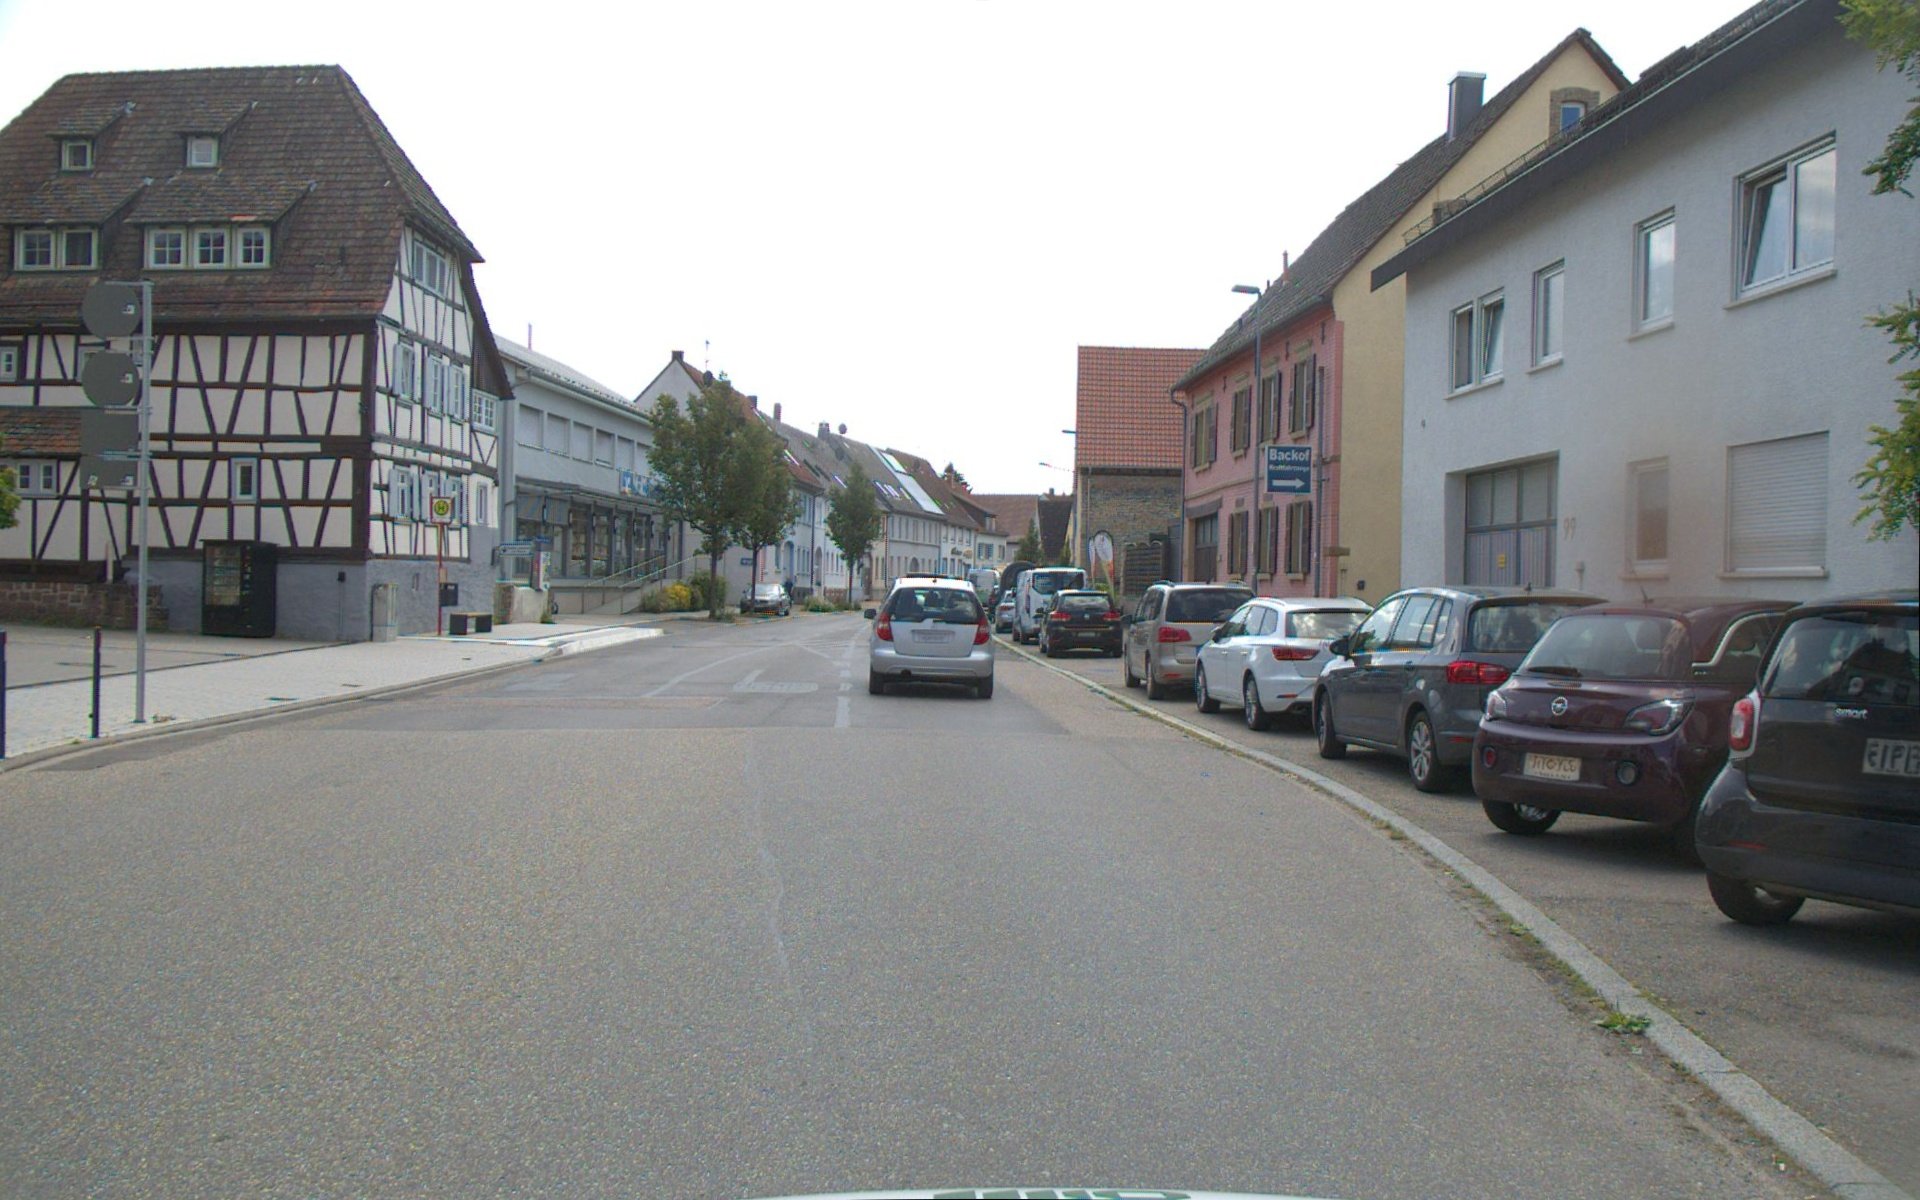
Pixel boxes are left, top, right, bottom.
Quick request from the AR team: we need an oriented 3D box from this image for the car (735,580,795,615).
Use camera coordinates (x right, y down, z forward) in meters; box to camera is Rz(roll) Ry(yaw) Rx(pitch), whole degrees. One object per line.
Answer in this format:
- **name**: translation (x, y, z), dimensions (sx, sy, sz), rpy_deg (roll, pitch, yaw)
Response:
- **car**: translation (-8.597, -0.125, 73.197), dimensions (1.766, 1.486, 4.161), rpy_deg (1, 1, 5)

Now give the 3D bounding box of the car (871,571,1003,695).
- **car**: translation (-0.382, 0.434, 24.210), dimensions (1.733, 1.622, 3.998), rpy_deg (1, 0, -2)

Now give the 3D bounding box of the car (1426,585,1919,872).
- **car**: translation (4.764, 0.683, 10.485), dimensions (3.193, 1.531, 1.808), rpy_deg (0, 1, -31)

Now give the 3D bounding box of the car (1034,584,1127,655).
- **car**: translation (2.726, 0.407, 38.211), dimensions (1.739, 1.521, 4.161), rpy_deg (0, 1, -1)

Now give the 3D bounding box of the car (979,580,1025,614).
- **car**: translation (2.019, -0.186, 80.064), dimensions (1.953, 1.586, 3.999), rpy_deg (-1, 1, -2)

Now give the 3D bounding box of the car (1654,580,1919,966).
- **car**: translation (4.894, 0.686, 7.532), dimensions (2.744, 1.531, 1.863), rpy_deg (0, 1, -25)

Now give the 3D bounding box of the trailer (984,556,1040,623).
- **trailer**: translation (1.892, -0.417, 60.968), dimensions (1.808, 2.395, 3.588), rpy_deg (0, 1, -2)

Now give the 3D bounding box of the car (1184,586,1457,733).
- **car**: translation (4.125, 0.612, 19.709), dimensions (1.955, 1.544, 4.366), rpy_deg (0, 1, -5)

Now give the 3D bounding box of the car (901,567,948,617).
- **car**: translation (-1.430, -0.324, 68.762), dimensions (1.733, 1.920, 4.447), rpy_deg (3, 0, 0)

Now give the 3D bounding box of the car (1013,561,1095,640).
- **car**: translation (2.549, -0.010, 45.992), dimensions (1.854, 2.016, 4.929), rpy_deg (-2, 1, -1)

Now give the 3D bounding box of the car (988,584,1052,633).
- **car**: translation (1.972, 0.241, 55.462), dimensions (1.837, 1.507, 4.673), rpy_deg (1, 1, -1)

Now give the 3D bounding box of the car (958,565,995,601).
- **car**: translation (1.059, -1.070, 105.185), dimensions (2.189, 2.261, 4.002), rpy_deg (0, 0, 3)

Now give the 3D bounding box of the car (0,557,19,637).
- **car**: translation (-19.311, -0.171, 29.105), dimensions (4.335, 1.413, 1.965), rpy_deg (3, 1, 2)

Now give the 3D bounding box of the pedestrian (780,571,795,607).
- **pedestrian**: translation (-8.869, -0.549, 85.140), dimensions (0.724, 1.833, 0.642), rpy_deg (0, 0, 0)

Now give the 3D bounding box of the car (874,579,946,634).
- **car**: translation (-1.418, 0.156, 46.614), dimensions (1.906, 1.432, 3.999), rpy_deg (1, 1, -2)

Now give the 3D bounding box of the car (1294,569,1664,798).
- **car**: translation (4.193, 0.578, 14.105), dimensions (1.629, 1.652, 4.270), rpy_deg (0, 1, -3)

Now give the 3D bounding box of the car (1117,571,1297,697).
- **car**: translation (3.595, 0.441, 24.820), dimensions (1.953, 1.710, 4.322), rpy_deg (0, 1, -1)
